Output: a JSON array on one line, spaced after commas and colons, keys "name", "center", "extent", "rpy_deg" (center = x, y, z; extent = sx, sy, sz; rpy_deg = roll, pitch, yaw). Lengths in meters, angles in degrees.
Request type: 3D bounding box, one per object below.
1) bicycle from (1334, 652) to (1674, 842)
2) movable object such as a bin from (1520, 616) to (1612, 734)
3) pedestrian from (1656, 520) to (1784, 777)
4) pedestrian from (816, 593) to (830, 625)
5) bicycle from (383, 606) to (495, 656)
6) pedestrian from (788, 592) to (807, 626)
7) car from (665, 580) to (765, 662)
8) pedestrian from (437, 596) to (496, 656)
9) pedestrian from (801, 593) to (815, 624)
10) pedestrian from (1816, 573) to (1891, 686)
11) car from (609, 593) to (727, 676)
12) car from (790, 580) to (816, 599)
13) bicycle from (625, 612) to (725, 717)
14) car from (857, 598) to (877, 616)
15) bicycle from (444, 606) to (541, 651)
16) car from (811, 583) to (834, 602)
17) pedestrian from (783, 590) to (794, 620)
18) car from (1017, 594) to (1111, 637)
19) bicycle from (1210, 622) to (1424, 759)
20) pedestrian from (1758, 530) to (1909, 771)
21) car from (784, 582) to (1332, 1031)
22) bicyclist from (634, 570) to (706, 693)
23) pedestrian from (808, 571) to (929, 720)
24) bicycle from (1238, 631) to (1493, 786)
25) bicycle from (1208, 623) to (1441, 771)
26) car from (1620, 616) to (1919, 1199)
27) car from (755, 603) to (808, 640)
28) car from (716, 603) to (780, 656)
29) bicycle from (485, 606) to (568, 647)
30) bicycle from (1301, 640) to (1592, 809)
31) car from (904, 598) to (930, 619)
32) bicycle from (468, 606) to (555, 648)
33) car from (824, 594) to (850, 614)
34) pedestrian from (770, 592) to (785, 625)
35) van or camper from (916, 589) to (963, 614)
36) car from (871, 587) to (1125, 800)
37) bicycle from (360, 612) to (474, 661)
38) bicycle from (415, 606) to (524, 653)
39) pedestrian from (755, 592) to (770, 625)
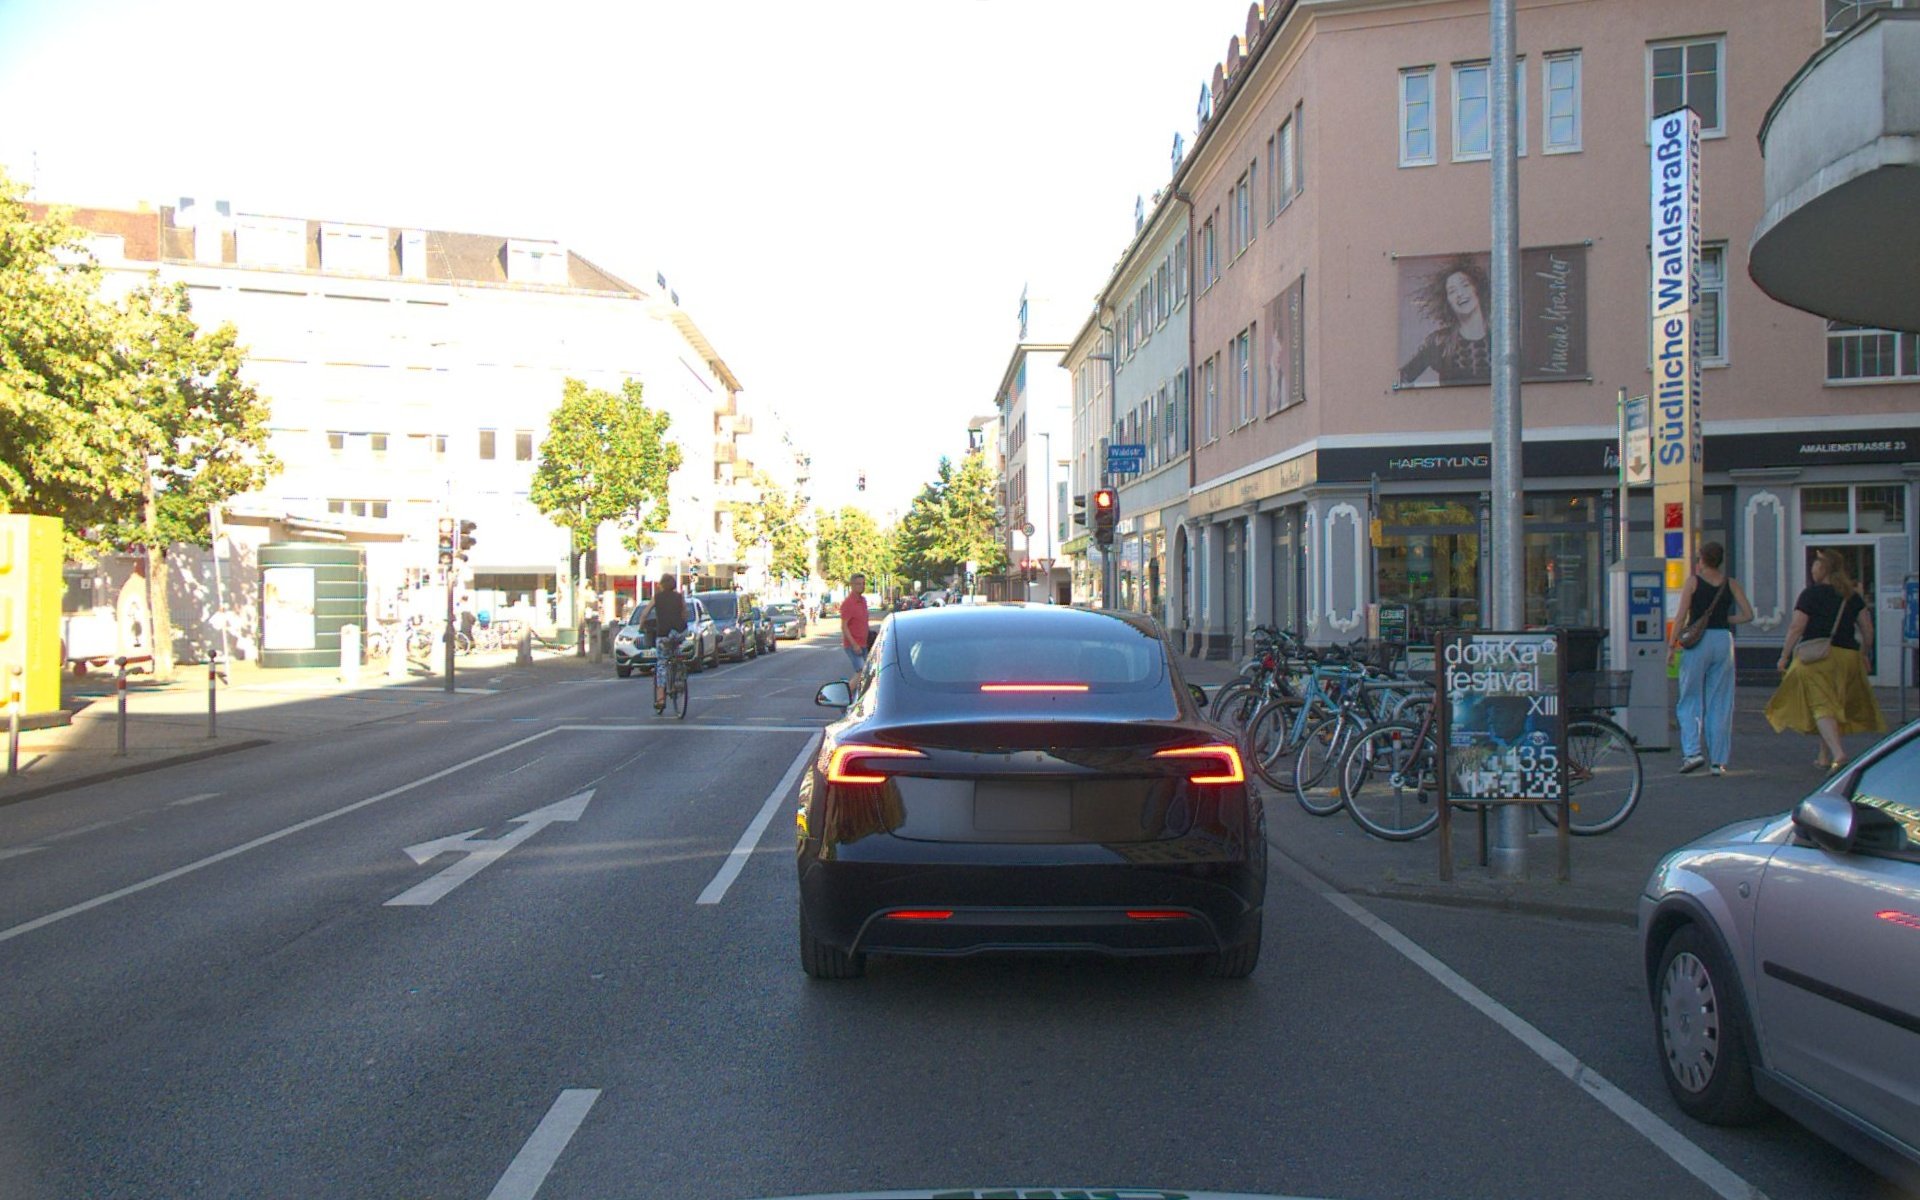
[{"name": "bicycle", "center": [3.280, 0.877, 10.074], "extent": [1.844, 1.062, 0.653], "rpy_deg": [-1, 0, 0]}, {"name": "movable object such as a bin", "center": [6.043, 0.734, 16.520], "extent": [0.623, 1.122, 0.728], "rpy_deg": [-2, 0, 3]}, {"name": "pedestrian", "center": [5.848, 0.365, 12.771], "extent": [0.666, 1.882, 0.894], "rpy_deg": [-4, -1, 16]}, {"name": "pedestrian", "center": [-8.261, 0.552, 99.651], "extent": [0.760, 1.900, 1.006], "rpy_deg": [1, -1, -11]}, {"name": "bicycle", "center": [-14.122, 0.847, 44.907], "extent": [2.725, 1.296, 0.932], "rpy_deg": [1, 0, -4]}, {"name": "pedestrian", "center": [-9.268, 0.513, 94.461], "extent": [0.719, 1.900, 0.790], "rpy_deg": [1, -1, 28]}, {"name": "car", "center": [-6.229, 0.509, 42.549], "extent": [1.906, 1.981, 4.819], "rpy_deg": [0, 0, -1]}, {"name": "pedestrian", "center": [-13.873, 0.714, 46.474], "extent": [1.244, 1.639, 1.089], "rpy_deg": [1, -1, 43]}, {"name": "pedestrian", "center": [-9.481, 0.546, 103.392], "extent": [0.683, 1.900, 0.906], "rpy_deg": [1, -1, -15]}, {"name": "pedestrian", "center": [12.785, 0.420, 23.666], "extent": [0.784, 1.576, 0.713], "rpy_deg": [1, -1, -40]}, {"name": "car", "center": [-6.321, 0.713, 36.221], "extent": [1.788, 1.592, 4.299], "rpy_deg": [-4, 0, -1]}, {"name": "car", "center": [-17.014, -1.125, 179.390], "extent": [2.228, 2.049, 4.717], "rpy_deg": [1, 0, 0]}, {"name": "bicycle", "center": [-3.586, 0.807, 20.696], "extent": [0.621, 1.244, 1.981], "rpy_deg": [0, -2, -29]}, {"name": "car", "center": [-10.498, 0.833, 186.950], "extent": [2.089, 2.004, 4.133], "rpy_deg": [0, 0, -1]}, {"name": "bicycle", "center": [-14.008, 0.849, 49.627], "extent": [2.609, 1.281, 0.942], "rpy_deg": [1, 0, -4]}, {"name": "car", "center": [-15.598, -0.813, 188.046], "extent": [2.228, 2.049, 4.717], "rpy_deg": [1, 0, 0]}, {"name": "pedestrian", "center": [-10.764, 0.316, 103.698], "extent": [0.681, 1.900, 0.658], "rpy_deg": [1, -1, -6]}, {"name": "car", "center": [4.715, 0.705, 74.724], "extent": [3.937, 1.900, 1.686], "rpy_deg": [0, 0, -22]}, {"name": "bicycle", "center": [3.163, 0.793, 14.760], "extent": [1.776, 1.172, 0.653], "rpy_deg": [0, 0, 0]}, {"name": "pedestrian", "center": [6.754, 0.383, 12.828], "extent": [0.706, 1.785, 0.788], "rpy_deg": [-2, -1, 4]}, {"name": "car", "center": [0.300, 0.702, 7.755], "extent": [1.812, 1.472, 4.450], "rpy_deg": [1, 0, -1]}, {"name": "bicyclist", "center": [-3.654, 0.392, 20.826], "extent": [0.599, 1.510, 0.949], "rpy_deg": [1, -1, -29]}, {"name": "pedestrian", "center": [-1.111, 0.541, 20.321], "extent": [1.088, 1.750, 1.060], "rpy_deg": [1, -1, 26]}, {"name": "bicycle", "center": [3.050, 0.807, 12.550], "extent": [1.776, 1.121, 0.653], "rpy_deg": [0, 0, 0]}, {"name": "bicycle", "center": [2.979, 0.785, 13.623], "extent": [1.776, 1.172, 0.653], "rpy_deg": [0, 0, 0]}, {"name": "car", "center": [2.922, 0.783, 3.521], "extent": [1.551, 1.451, 3.579], "rpy_deg": [1, 0, -1]}, {"name": "car", "center": [-7.013, 0.830, 65.283], "extent": [1.659, 1.414, 3.915], "rpy_deg": [1, 0, 0]}, {"name": "car", "center": [-6.334, 0.857, 49.675], "extent": [1.431, 1.455, 3.605], "rpy_deg": [-3, 0, -1]}, {"name": "bicycle", "center": [-14.226, 0.861, 54.323], "extent": [2.491, 1.273, 0.942], "rpy_deg": [1, 0, -4]}, {"name": "bicycle", "center": [3.251, 0.824, 11.146], "extent": [1.776, 1.078, 0.653], "rpy_deg": [0, 0, 0]}, {"name": "car", "center": [-3.747, 0.719, 145.198], "extent": [1.992, 1.819, 4.008], "rpy_deg": [0, 0, 3]}, {"name": "bicycle", "center": [-14.060, 0.853, 51.901], "extent": [2.491, 1.273, 0.942], "rpy_deg": [1, 0, -4]}, {"name": "car", "center": [-12.341, 0.399, 166.246], "extent": [2.365, 2.004, 4.677], "rpy_deg": [0, 0, -1]}, {"name": "pedestrian", "center": [-10.703, 0.499, 97.018], "extent": [0.721, 1.900, 0.787], "rpy_deg": [1, -1, -17]}, {"name": "van or camper", "center": [-2.065, 0.174, 167.503], "extent": [4.752, 2.481, 1.850], "rpy_deg": [0, 0, -1]}, {"name": "car", "center": [0.244, 0.688, 14.179], "extent": [1.812, 1.507, 4.450], "rpy_deg": [1, 0, -1]}, {"name": "bicycle", "center": [-13.948, 0.928, 42.569], "extent": [2.607, 1.216, 0.942], "rpy_deg": [1, 0, -4]}, {"name": "bicycle", "center": [-13.999, 0.834, 47.308], "extent": [2.818, 1.292, 0.942], "rpy_deg": [1, 0, -4]}, {"name": "pedestrian", "center": [-11.541, 0.483, 96.669], "extent": [0.721, 1.900, 0.787], "rpy_deg": [1, -1, -17]}]
